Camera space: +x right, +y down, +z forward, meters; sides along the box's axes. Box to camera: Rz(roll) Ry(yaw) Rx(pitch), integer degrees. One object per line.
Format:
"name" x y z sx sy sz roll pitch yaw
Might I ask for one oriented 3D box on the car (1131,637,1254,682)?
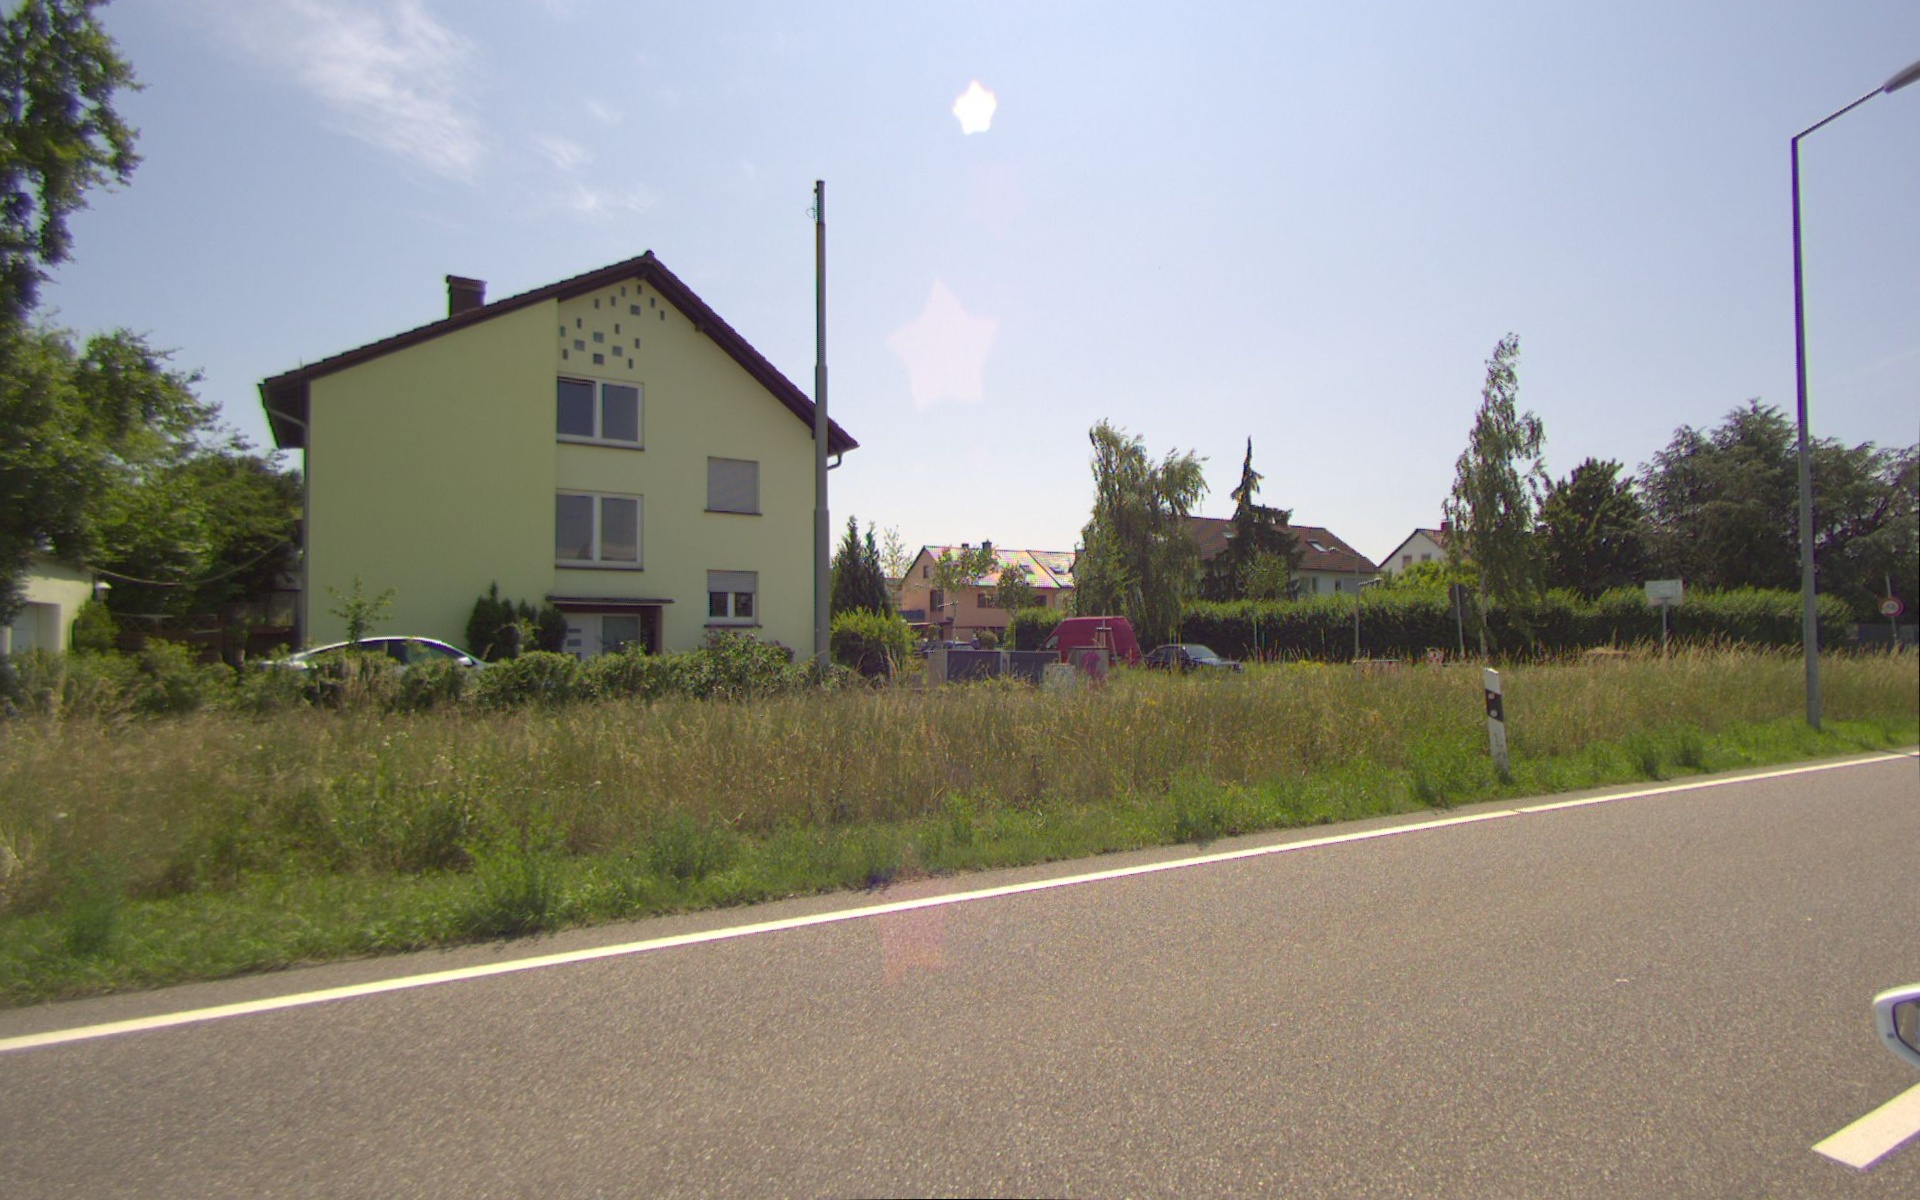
"car" 8.060 2.028 35.140 1.979 1.372 3.964 1 -1 -33

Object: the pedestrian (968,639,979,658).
"pedestrian" 0.960 3.419 71.119 0.535 1.315 0.563 1 -2 -33

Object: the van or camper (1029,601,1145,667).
"van or camper" 4.923 1.288 39.703 1.979 2.419 4.726 1 -1 -33

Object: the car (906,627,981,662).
"car" -0.831 2.118 48.561 1.849 1.539 3.965 1 -1 -32

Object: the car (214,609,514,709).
"car" -9.887 0.938 16.953 4.138 1.511 1.698 1 -1 -31

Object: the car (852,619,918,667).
"car" -4.072 2.288 53.908 1.849 2.432 3.965 1 -1 -32

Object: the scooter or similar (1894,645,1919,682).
"scooter or similar" 29.902 1.988 31.343 0.643 1.143 1.010 1 -2 -38
